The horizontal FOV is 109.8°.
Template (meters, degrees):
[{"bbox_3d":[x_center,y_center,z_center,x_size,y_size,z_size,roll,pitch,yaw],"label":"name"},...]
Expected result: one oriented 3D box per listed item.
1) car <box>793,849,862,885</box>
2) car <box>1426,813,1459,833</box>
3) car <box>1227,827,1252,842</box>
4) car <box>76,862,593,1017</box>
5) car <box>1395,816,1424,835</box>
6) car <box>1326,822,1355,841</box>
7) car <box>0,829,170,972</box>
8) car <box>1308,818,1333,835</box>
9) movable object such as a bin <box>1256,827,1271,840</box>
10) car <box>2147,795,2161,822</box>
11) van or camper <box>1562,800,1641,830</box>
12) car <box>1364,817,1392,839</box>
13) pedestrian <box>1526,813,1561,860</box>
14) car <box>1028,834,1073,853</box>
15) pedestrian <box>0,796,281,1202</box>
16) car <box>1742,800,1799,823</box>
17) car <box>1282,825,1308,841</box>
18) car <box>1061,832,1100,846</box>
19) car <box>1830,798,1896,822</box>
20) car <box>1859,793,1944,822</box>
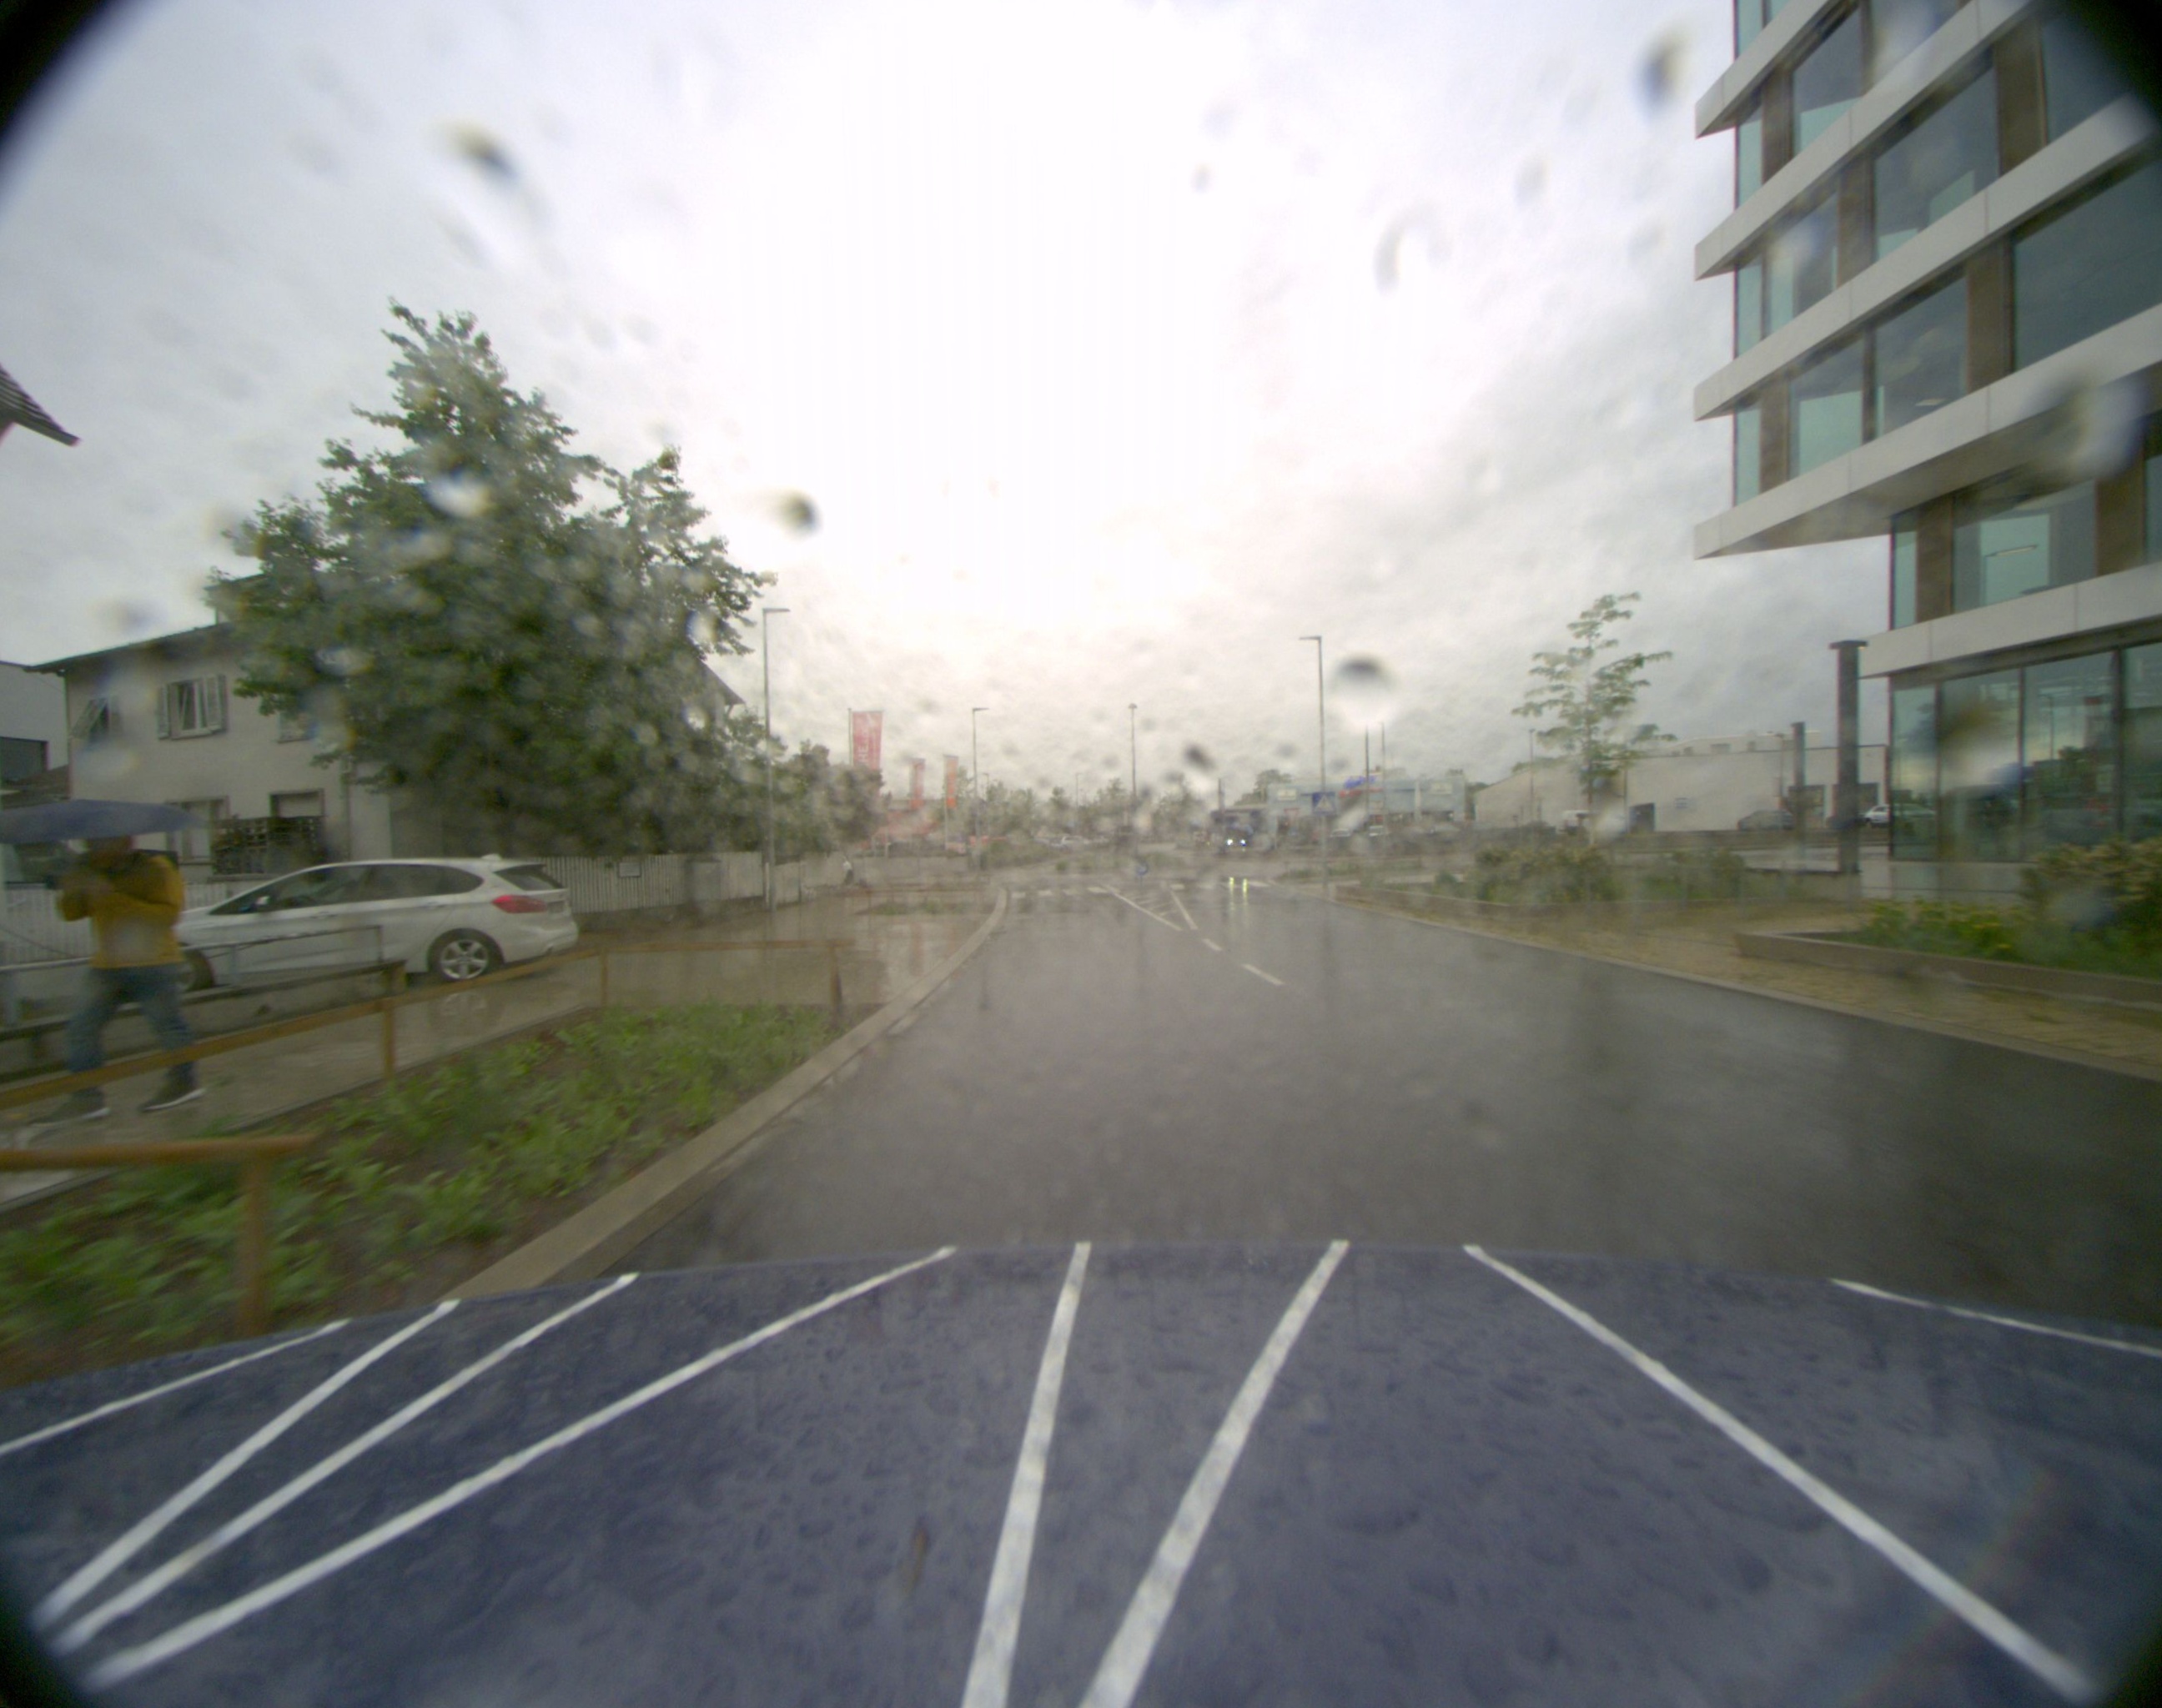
[{"bbox_3d":[-12.671,0.615,38.314,1.845,1.681,4.171,-2,0,3],"label":"car"},{"bbox_3d":[27.460,-2.378,57.844,1.884,1.288,4.005,-5,1,22],"label":"car"},{"bbox_3d":[17.981,-2.209,86.262,1.917,1.521,4.006,-4,0,24],"label":"car"},{"bbox_3d":[-8.827,0.916,9.532,4.145,1.571,1.997,0,0,-17],"label":"car"},{"bbox_3d":[25.351,-2.218,58.704,1.884,1.288,4.005,-5,1,22],"label":"car"},{"bbox_3d":[20.592,-1.824,60.115,1.884,1.288,4.005,-5,1,22],"label":"car"},{"bbox_3d":[-17.703,0.666,11.515,4.856,2.009,2.120,0,1,-6],"label":"car"},{"bbox_3d":[23.129,-2.658,73.231,1.884,1.477,4.005,-5,1,22],"label":"car"},{"bbox_3d":[19.134,-2.131,79.676,1.212,1.288,1.480,-5,1,22],"label":"movable object such as a bin"},{"bbox_3d":[62.826,-2.637,42.429,1.791,1.543,4.004,-2,1,18],"label":"car"},{"bbox_3d":[38.067,-2.812,55.701,4.372,1.751,1.890,-5,1,22],"label":"van or camper"},{"bbox_3d":[23.334,-2.031,59.720,1.791,1.543,4.004,-2,1,18],"label":"car"},{"bbox_3d":[20.051,-0.751,32.953,0.893,2.002,0.931,-3,1,-7],"label":"pedestrian"},{"bbox_3d":[-3.123,-1.094,78.291,4.096,1.696,2.003,-2,1,25],"label":"car"},{"bbox_3d":[-5.606,0.711,4.313,0.861,2.002,1.194,0,1,-4],"label":"pedestrian"},{"bbox_3d":[52.365,-3.169,57.754,1.791,1.543,4.005,-2,1,20],"label":"car"},{"bbox_3d":[20.752,-2.038,73.653,1.884,1.288,4.005,-5,1,22],"label":"car"},{"bbox_3d":[-0.008,-1.691,87.892,3.991,1.434,2.003,-2,1,22],"label":"car"},{"bbox_3d":[57.473,-3.208,55.942,1.791,1.543,4.005,-2,1,20],"label":"car"},{"bbox_3d":[50.288,-2.820,46.677,1.848,1.543,4.004,-2,1,18],"label":"car"}]
